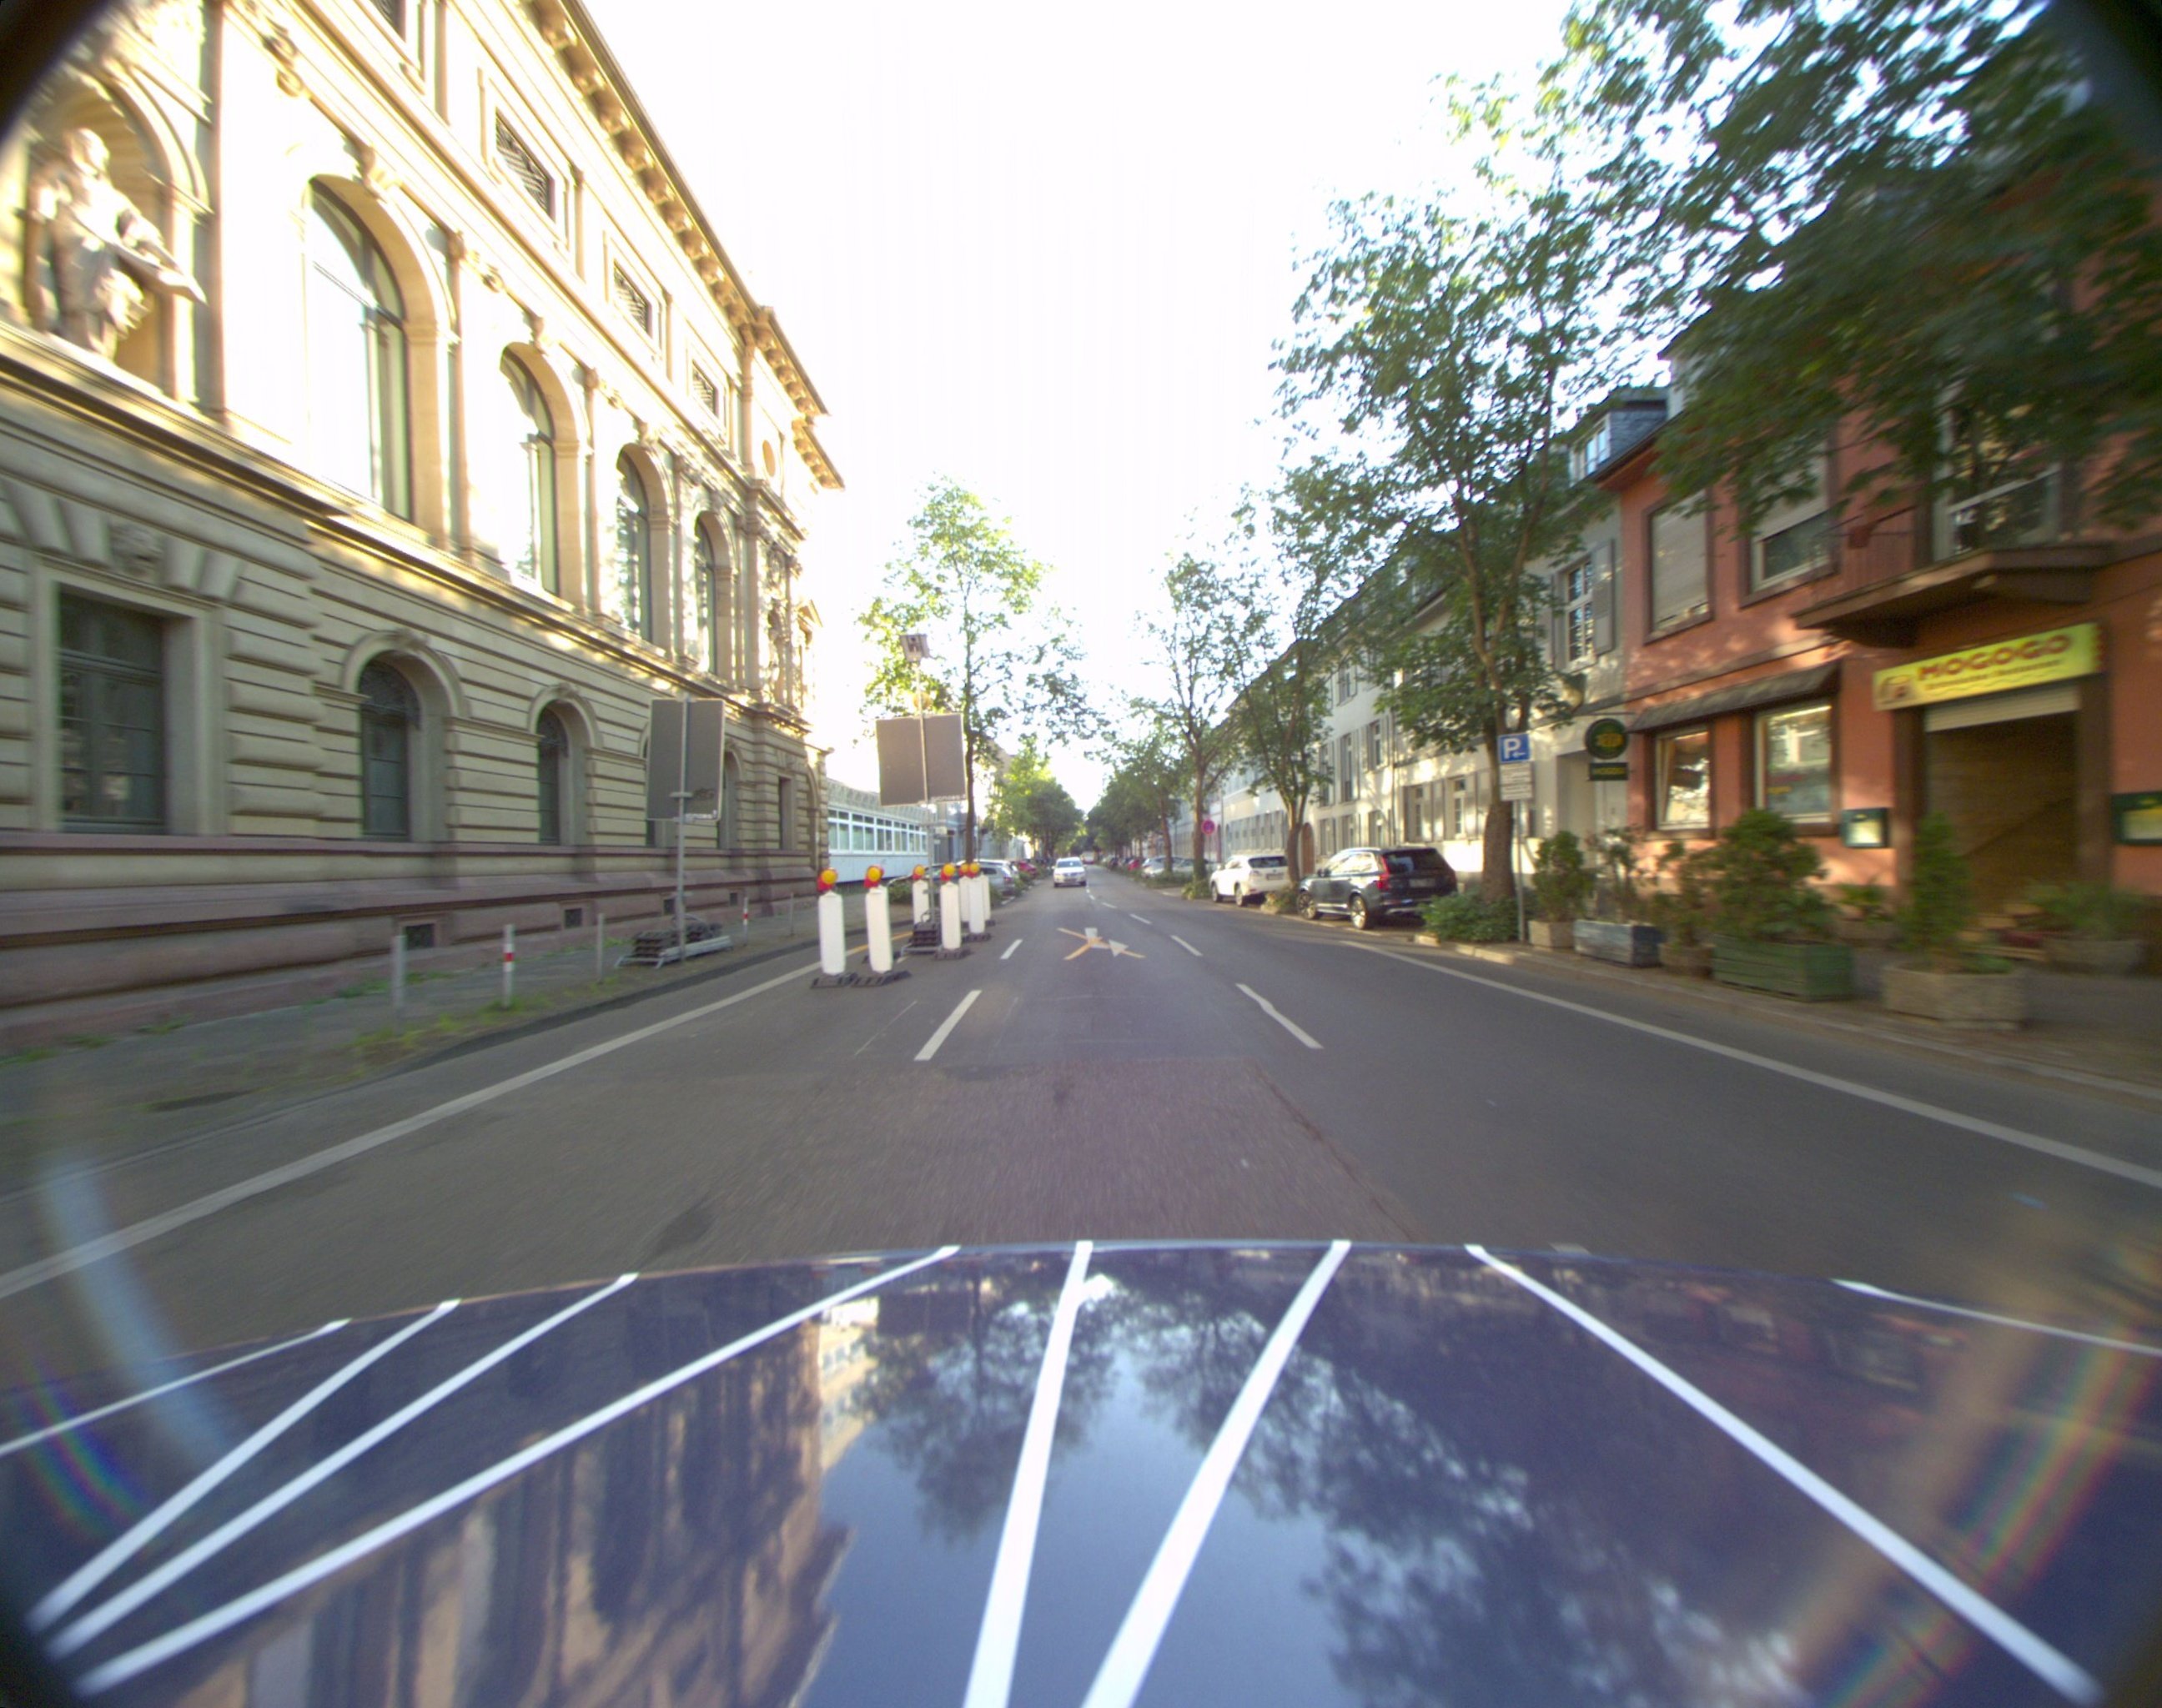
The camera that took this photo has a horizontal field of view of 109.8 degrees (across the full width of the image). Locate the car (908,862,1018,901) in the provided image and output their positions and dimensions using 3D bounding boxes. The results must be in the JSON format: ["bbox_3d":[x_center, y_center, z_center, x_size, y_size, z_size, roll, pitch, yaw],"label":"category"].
[{"bbox_3d":[-4.916,1.125,32.135,4.368,1.486,1.672,1,0,0],"label":"car"}]

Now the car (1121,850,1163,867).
[{"bbox_3d":[6.411,0.477,79.933,4.230,1.654,1.800,-1,0,-3],"label":"car"}]

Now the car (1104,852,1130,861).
[{"bbox_3d":[6.223,0.481,130.349,4.230,1.508,1.969,-1,0,-3],"label":"car"}]

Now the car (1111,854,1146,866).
[{"bbox_3d":[5.980,0.726,95.397,4.230,1.468,1.853,-1,0,-3],"label":"car"}]

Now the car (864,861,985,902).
[{"bbox_3d":[-5.981,1.053,29.505,4.369,1.455,1.833,1,0,-4],"label":"car"}]

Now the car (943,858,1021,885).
[{"bbox_3d":[-5.721,1.027,44.512,4.369,1.485,1.886,0,0,-2],"label":"car"}]

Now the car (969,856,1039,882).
[{"bbox_3d":[-4.980,0.953,49.524,4.369,1.615,1.733,1,0,-2],"label":"car"}]

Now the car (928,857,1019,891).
[{"bbox_3d":[-5.397,0.992,38.599,4.369,1.633,2.054,1,0,-2],"label":"car"}]

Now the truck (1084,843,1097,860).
[{"bbox_3d":[2.242,-0.621,178.249,2.748,3.723,7.855,-1,0,1],"label":"truck"}]

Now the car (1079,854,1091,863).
[{"bbox_3d":[0.743,0.876,143.017,1.951,1.546,3.999,-1,0,-1],"label":"car"}]

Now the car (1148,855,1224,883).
[{"bbox_3d":[6.146,0.875,44.796,4.228,1.536,1.801,-1,0,3],"label":"car"}]

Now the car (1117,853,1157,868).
[{"bbox_3d":[6.182,0.707,84.590,4.230,1.509,1.759,-1,0,-3],"label":"car"}]

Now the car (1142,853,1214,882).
[{"bbox_3d":[6.025,0.814,47.539,4.230,1.680,1.800,-1,0,-3],"label":"car"}]

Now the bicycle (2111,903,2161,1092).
[{"bbox_3d":[7.337,0.840,4.500,1.872,1.098,0.610,-2,1,-6],"label":"bicycle"}]

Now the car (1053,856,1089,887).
[{"bbox_3d":[-0.546,0.956,44.315,1.957,1.667,4.542,-1,0,0],"label":"car"}]

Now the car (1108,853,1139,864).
[{"bbox_3d":[5.988,0.630,107.869,4.230,1.468,1.969,-1,0,-3],"label":"car"}]

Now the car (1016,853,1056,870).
[{"bbox_3d":[-5.007,0.778,84.089,4.369,1.862,1.733,0,0,-2],"label":"car"}]

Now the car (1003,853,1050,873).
[{"bbox_3d":[-5.183,0.853,72.445,4.369,1.768,1.733,1,0,-2],"label":"car"}]

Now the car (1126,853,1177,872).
[{"bbox_3d":[6.081,0.746,65.714,4.230,1.499,1.800,-1,0,-3],"label":"car"}]

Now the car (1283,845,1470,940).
[{"bbox_3d":[6.569,0.763,17.662,1.833,1.749,5.045,-5,1,-6],"label":"car"}]

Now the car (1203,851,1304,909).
[{"bbox_3d":[5.787,0.812,26.130,1.833,1.658,4.654,-5,1,-6],"label":"car"}]

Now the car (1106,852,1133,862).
[{"bbox_3d":[6.150,0.484,121.864,4.230,1.468,1.969,-1,0,-3],"label":"car"}]
